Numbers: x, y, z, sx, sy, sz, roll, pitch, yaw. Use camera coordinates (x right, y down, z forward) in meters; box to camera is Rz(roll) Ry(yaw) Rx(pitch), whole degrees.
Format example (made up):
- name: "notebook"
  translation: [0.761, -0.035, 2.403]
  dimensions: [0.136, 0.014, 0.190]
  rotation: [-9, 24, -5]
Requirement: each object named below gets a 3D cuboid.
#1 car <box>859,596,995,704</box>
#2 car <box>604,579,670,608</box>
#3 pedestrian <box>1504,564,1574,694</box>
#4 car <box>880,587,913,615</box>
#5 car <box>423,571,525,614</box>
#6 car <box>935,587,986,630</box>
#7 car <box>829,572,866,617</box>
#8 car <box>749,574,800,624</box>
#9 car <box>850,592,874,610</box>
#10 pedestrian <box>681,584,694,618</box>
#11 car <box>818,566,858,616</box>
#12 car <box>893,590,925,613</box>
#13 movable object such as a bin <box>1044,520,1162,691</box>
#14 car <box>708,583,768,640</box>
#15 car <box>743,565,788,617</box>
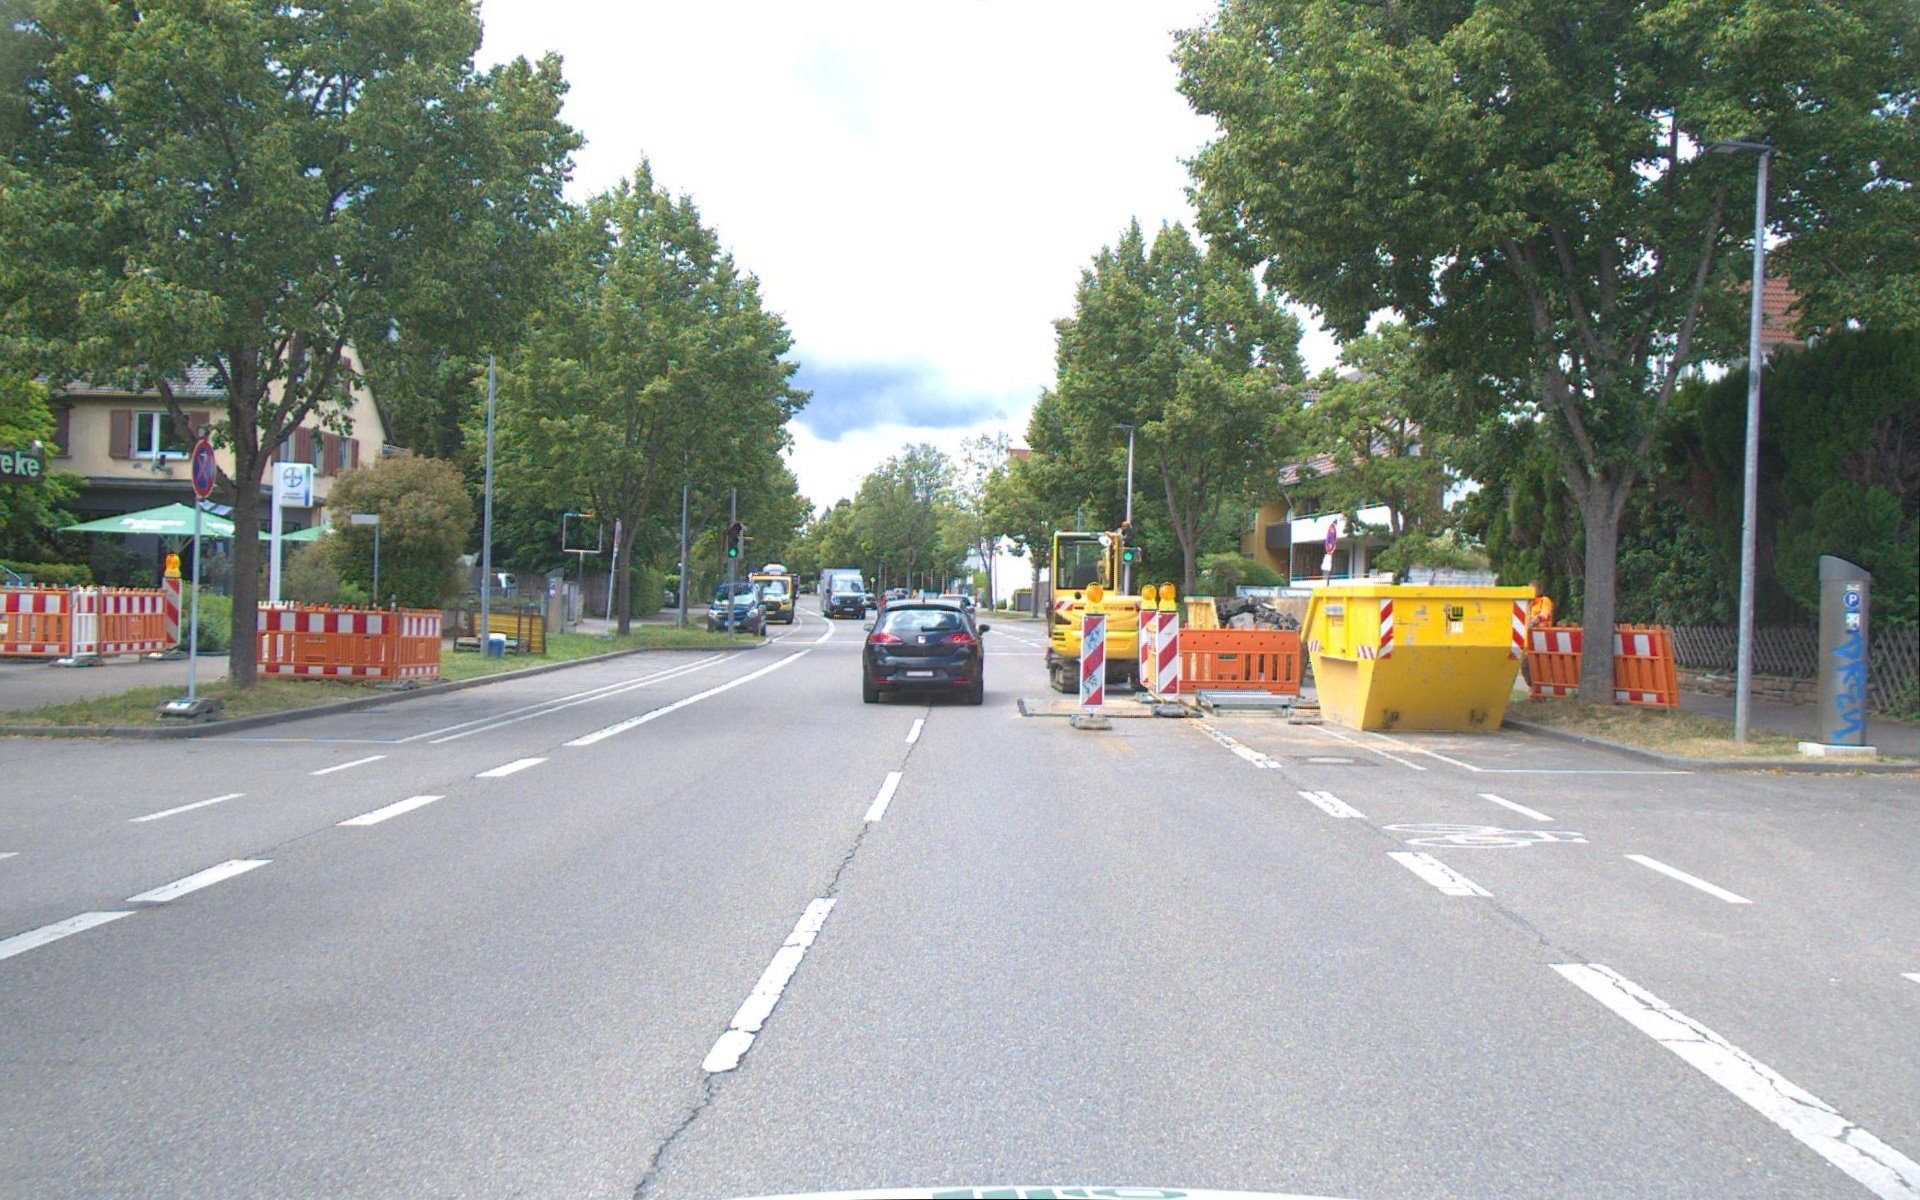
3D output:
- name: "car"
  translation: [-0.407, 0.676, 24.355]
  dimensions: [1.781, 1.463, 3.741]
  rotation: [0, 0, 2]
- name: "car"
  translation: [-19.008, -0.382, 97.439]
  dimensions: [3.610, 1.622, 1.677]
  rotation: [1, 0, -4]
- name: "pedestrian"
  translation: [7.539, 0.373, 21.543]
  dimensions: [0.689, 1.663, 0.644]
  rotation: [0, 0, 1]
- name: "car"
  translation: [-3.806, 0.038, 98.583]
  dimensions: [1.756, 1.651, 3.735]
  rotation: [0, 0, -6]
- name: "car"
  translation: [-21.282, -0.312, 72.476]
  dimensions: [3.903, 1.800, 1.747]
  rotation: [1, 0, 4]
- name: "car"
  translation: [-0.005, 0.340, 68.459]
  dimensions: [1.868, 1.715, 3.737]
  rotation: [0, 0, -4]
- name: "car"
  translation: [-6.245, -0.308, 92.635]
  dimensions: [1.988, 2.426, 5.258]
  rotation: [0, 0, -3]
- name: "car"
  translation: [-8.564, -0.042, 76.715]
  dimensions: [2.051, 2.213, 5.041]
  rotation: [1, 0, -4]
- name: "car"
  translation: [-7.765, 0.071, 130.446]
  dimensions: [1.775, 1.399, 3.689]
  rotation: [1, 0, -6]
- name: "pedestrian"
  translation: [-14.470, 0.057, 87.765]
  dimensions: [0.583, 1.772, 0.574]
  rotation: [1, 0, -4]
- name: "car"
  translation: [-7.241, -0.553, 98.793]
  dimensions: [2.242, 2.840, 7.139]
  rotation: [0, 0, -3]
- name: "car"
  translation: [-3.407, 0.095, 109.336]
  dimensions: [1.775, 1.440, 3.687]
  rotation: [1, 0, -7]
- name: "movable object such as a bin"
  translation: [2.301, 0.077, 27.411]
  dimensions: [1.731, 2.619, 3.741]
  rotation: [1, 0, 2]
- name: "car"
  translation: [-7.349, 0.364, 55.073]
  dimensions: [1.634, 1.803, 4.465]
  rotation: [0, 0, -3]
- name: "car"
  translation: [-10.267, -0.464, 87.568]
  dimensions: [2.051, 2.672, 5.041]
  rotation: [1, 0, -4]
